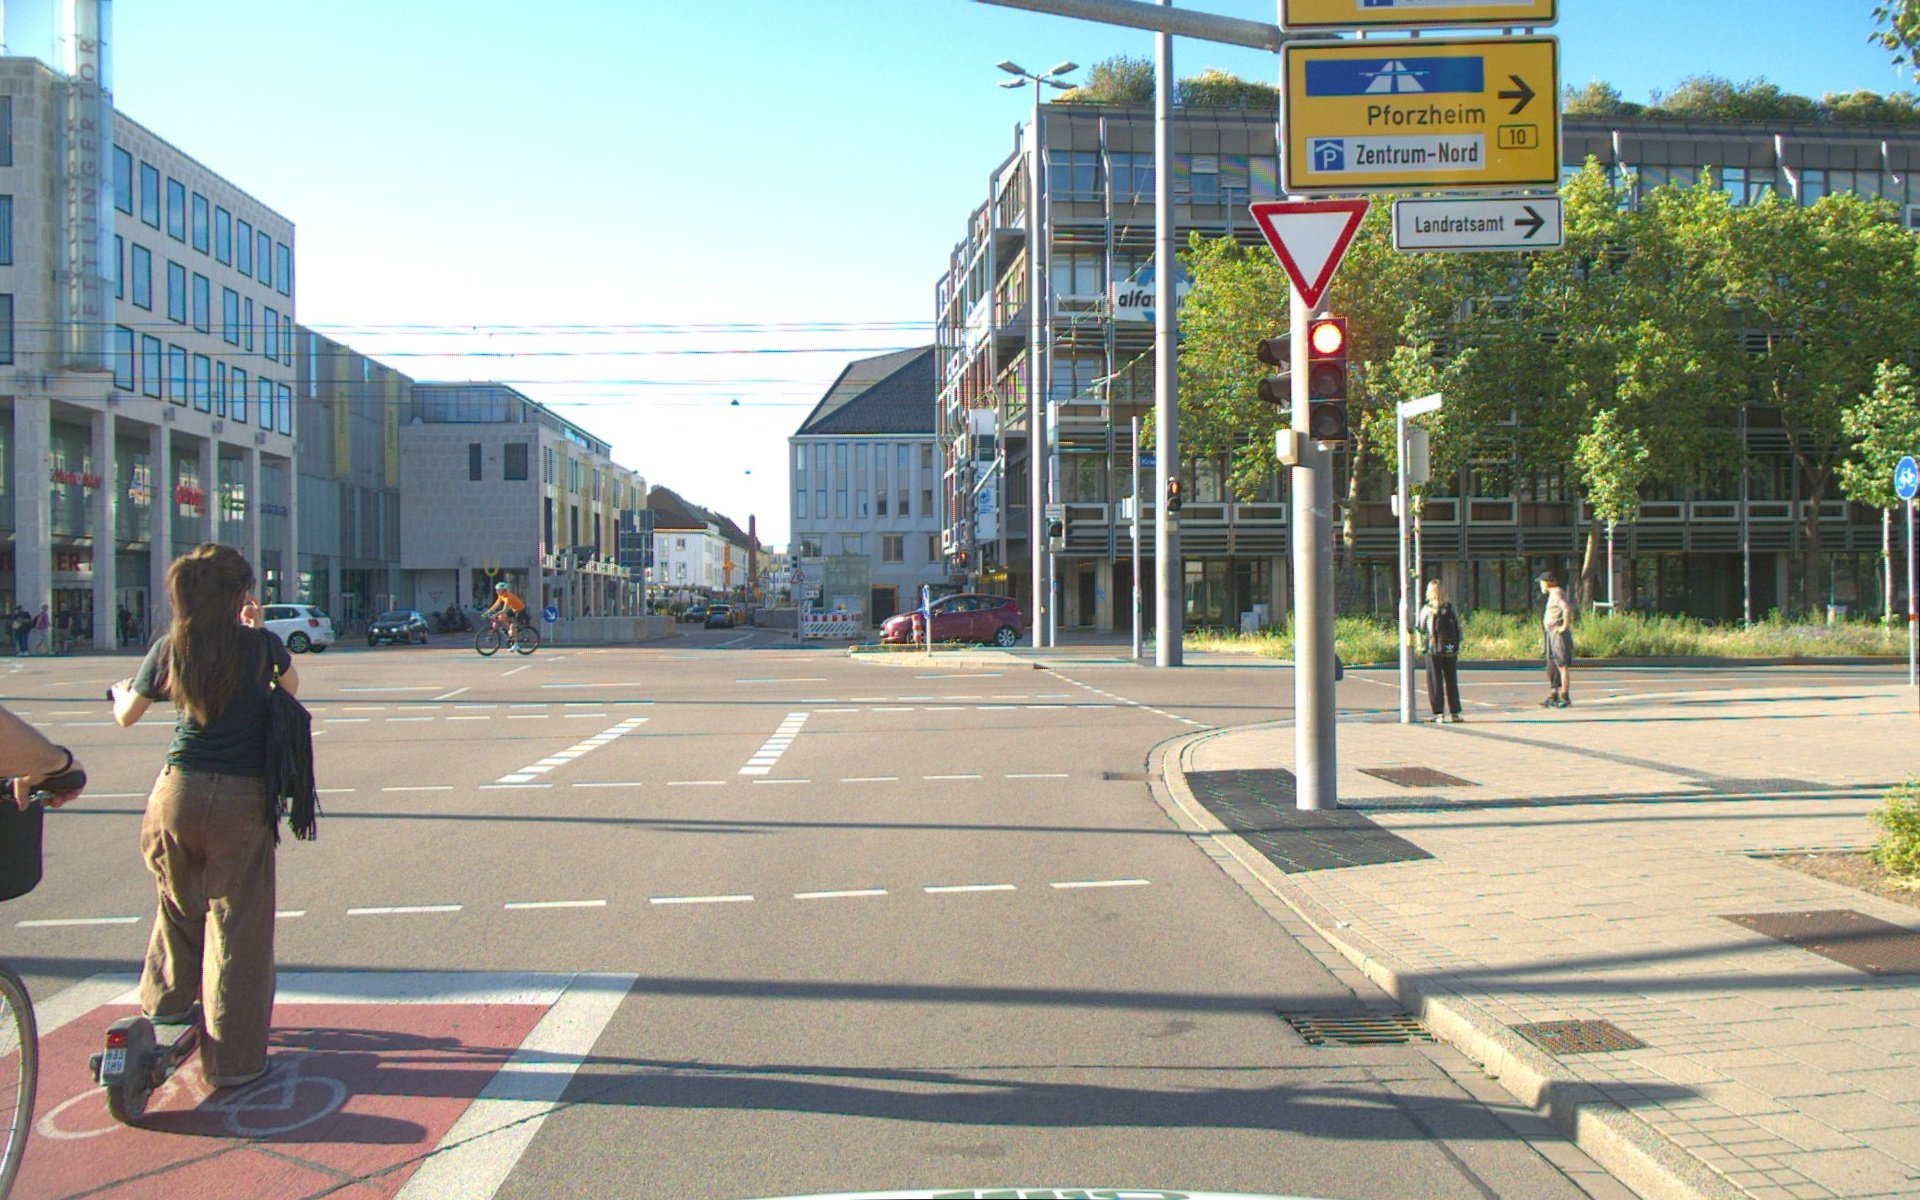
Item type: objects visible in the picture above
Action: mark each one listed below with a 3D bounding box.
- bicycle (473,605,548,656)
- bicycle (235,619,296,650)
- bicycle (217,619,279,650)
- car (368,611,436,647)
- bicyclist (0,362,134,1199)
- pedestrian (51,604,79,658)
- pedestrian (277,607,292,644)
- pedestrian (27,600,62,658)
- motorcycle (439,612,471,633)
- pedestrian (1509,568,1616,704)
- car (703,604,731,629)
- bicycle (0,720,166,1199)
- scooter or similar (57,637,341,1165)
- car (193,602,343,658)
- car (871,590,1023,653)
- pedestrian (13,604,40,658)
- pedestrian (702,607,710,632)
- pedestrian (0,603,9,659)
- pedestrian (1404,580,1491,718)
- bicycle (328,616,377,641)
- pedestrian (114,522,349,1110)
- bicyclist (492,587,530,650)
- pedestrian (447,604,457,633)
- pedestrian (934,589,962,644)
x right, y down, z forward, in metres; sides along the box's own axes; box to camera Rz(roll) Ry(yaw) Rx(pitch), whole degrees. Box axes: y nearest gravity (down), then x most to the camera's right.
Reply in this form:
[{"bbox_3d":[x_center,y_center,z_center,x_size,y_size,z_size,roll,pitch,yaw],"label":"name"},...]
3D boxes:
[{"bbox_3d":[-10.618,0.725,39.070,1.634,1.175,0.490,1,-1,-39],"label":"bicycle"},{"bbox_3d":[-29.129,1.436,69.401,2.260,1.244,0.611,0,0,-3],"label":"bicycle"},{"bbox_3d":[-29.336,1.427,68.115,2.260,1.244,0.611,0,0,-3],"label":"bicycle"},{"bbox_3d":[-23.381,1.208,69.483,1.597,1.365,3.998,-3,0,-3],"label":"car"},{"bbox_3d":[-1.979,0.462,2.852,0.647,1.750,0.865,1,-1,-1],"label":"bicyclist"},{"bbox_3d":[-31.174,1.072,57.602,0.788,1.876,0.854,0,0,-33],"label":"pedestrian"},{"bbox_3d":[-32.722,1.223,80.124,0.639,1.749,0.447,0,0,-25],"label":"pedestrian"},{"bbox_3d":[-32.880,1.034,59.410,0.868,2.049,0.771,1,-1,-12],"label":"pedestrian"},{"bbox_3d":[-29.764,1.329,97.475,1.775,1.228,0.509,1,0,-16],"label":"motorcycle"},{"bbox_3d":[7.711,0.458,21.185,0.866,1.694,0.958,1,-1,-22],"label":"pedestrian"},{"bbox_3d":[-15.829,1.057,107.945,1.705,1.558,3.849,1,0,-8],"label":"car"},{"bbox_3d":[-2.083,0.866,2.926,0.475,1.176,1.831,1,0,-1],"label":"bicycle"},{"bbox_3d":[-2.179,0.783,4.860,0.538,1.316,1.189,1,0,-15],"label":"scooter or similar"},{"bbox_3d":[-20.808,0.903,49.842,3.825,1.613,1.656,1,0,-8],"label":"car"},{"bbox_3d":[-0.356,0.557,44.402,3.818,1.613,1.654,-1,0,-14],"label":"car"},{"bbox_3d":[-32.865,1.081,58.262,0.787,1.876,0.856,0,0,-29],"label":"pedestrian"},{"bbox_3d":[-17.873,1.363,116.499,0.511,1.709,0.582,1,0,-8],"label":"pedestrian"},{"bbox_3d":[-33.101,1.060,56.777,0.706,1.918,0.780,1,-1,-28],"label":"pedestrian"},{"bbox_3d":[5.514,0.547,18.749,0.772,1.518,0.644,1,-1,-1],"label":"pedestrian"},{"bbox_3d":[-30.931,1.469,84.266,2.260,1.244,0.611,0,0,-3],"label":"bicycle"},{"bbox_3d":[-2.189,0.614,5.027,0.540,1.661,0.569,1,-1,-16],"label":"pedestrian"},{"bbox_3d":[-10.605,0.437,39.073,0.706,1.462,0.490,1,-1,-39],"label":"bicyclist"},{"bbox_3d":[-30.102,1.075,98.077,0.512,1.709,0.581,1,0,-14],"label":"pedestrian"},{"bbox_3d":[-0.435,0.576,58.372,0.631,1.923,0.788,1,-1,36],"label":"pedestrian"}]
